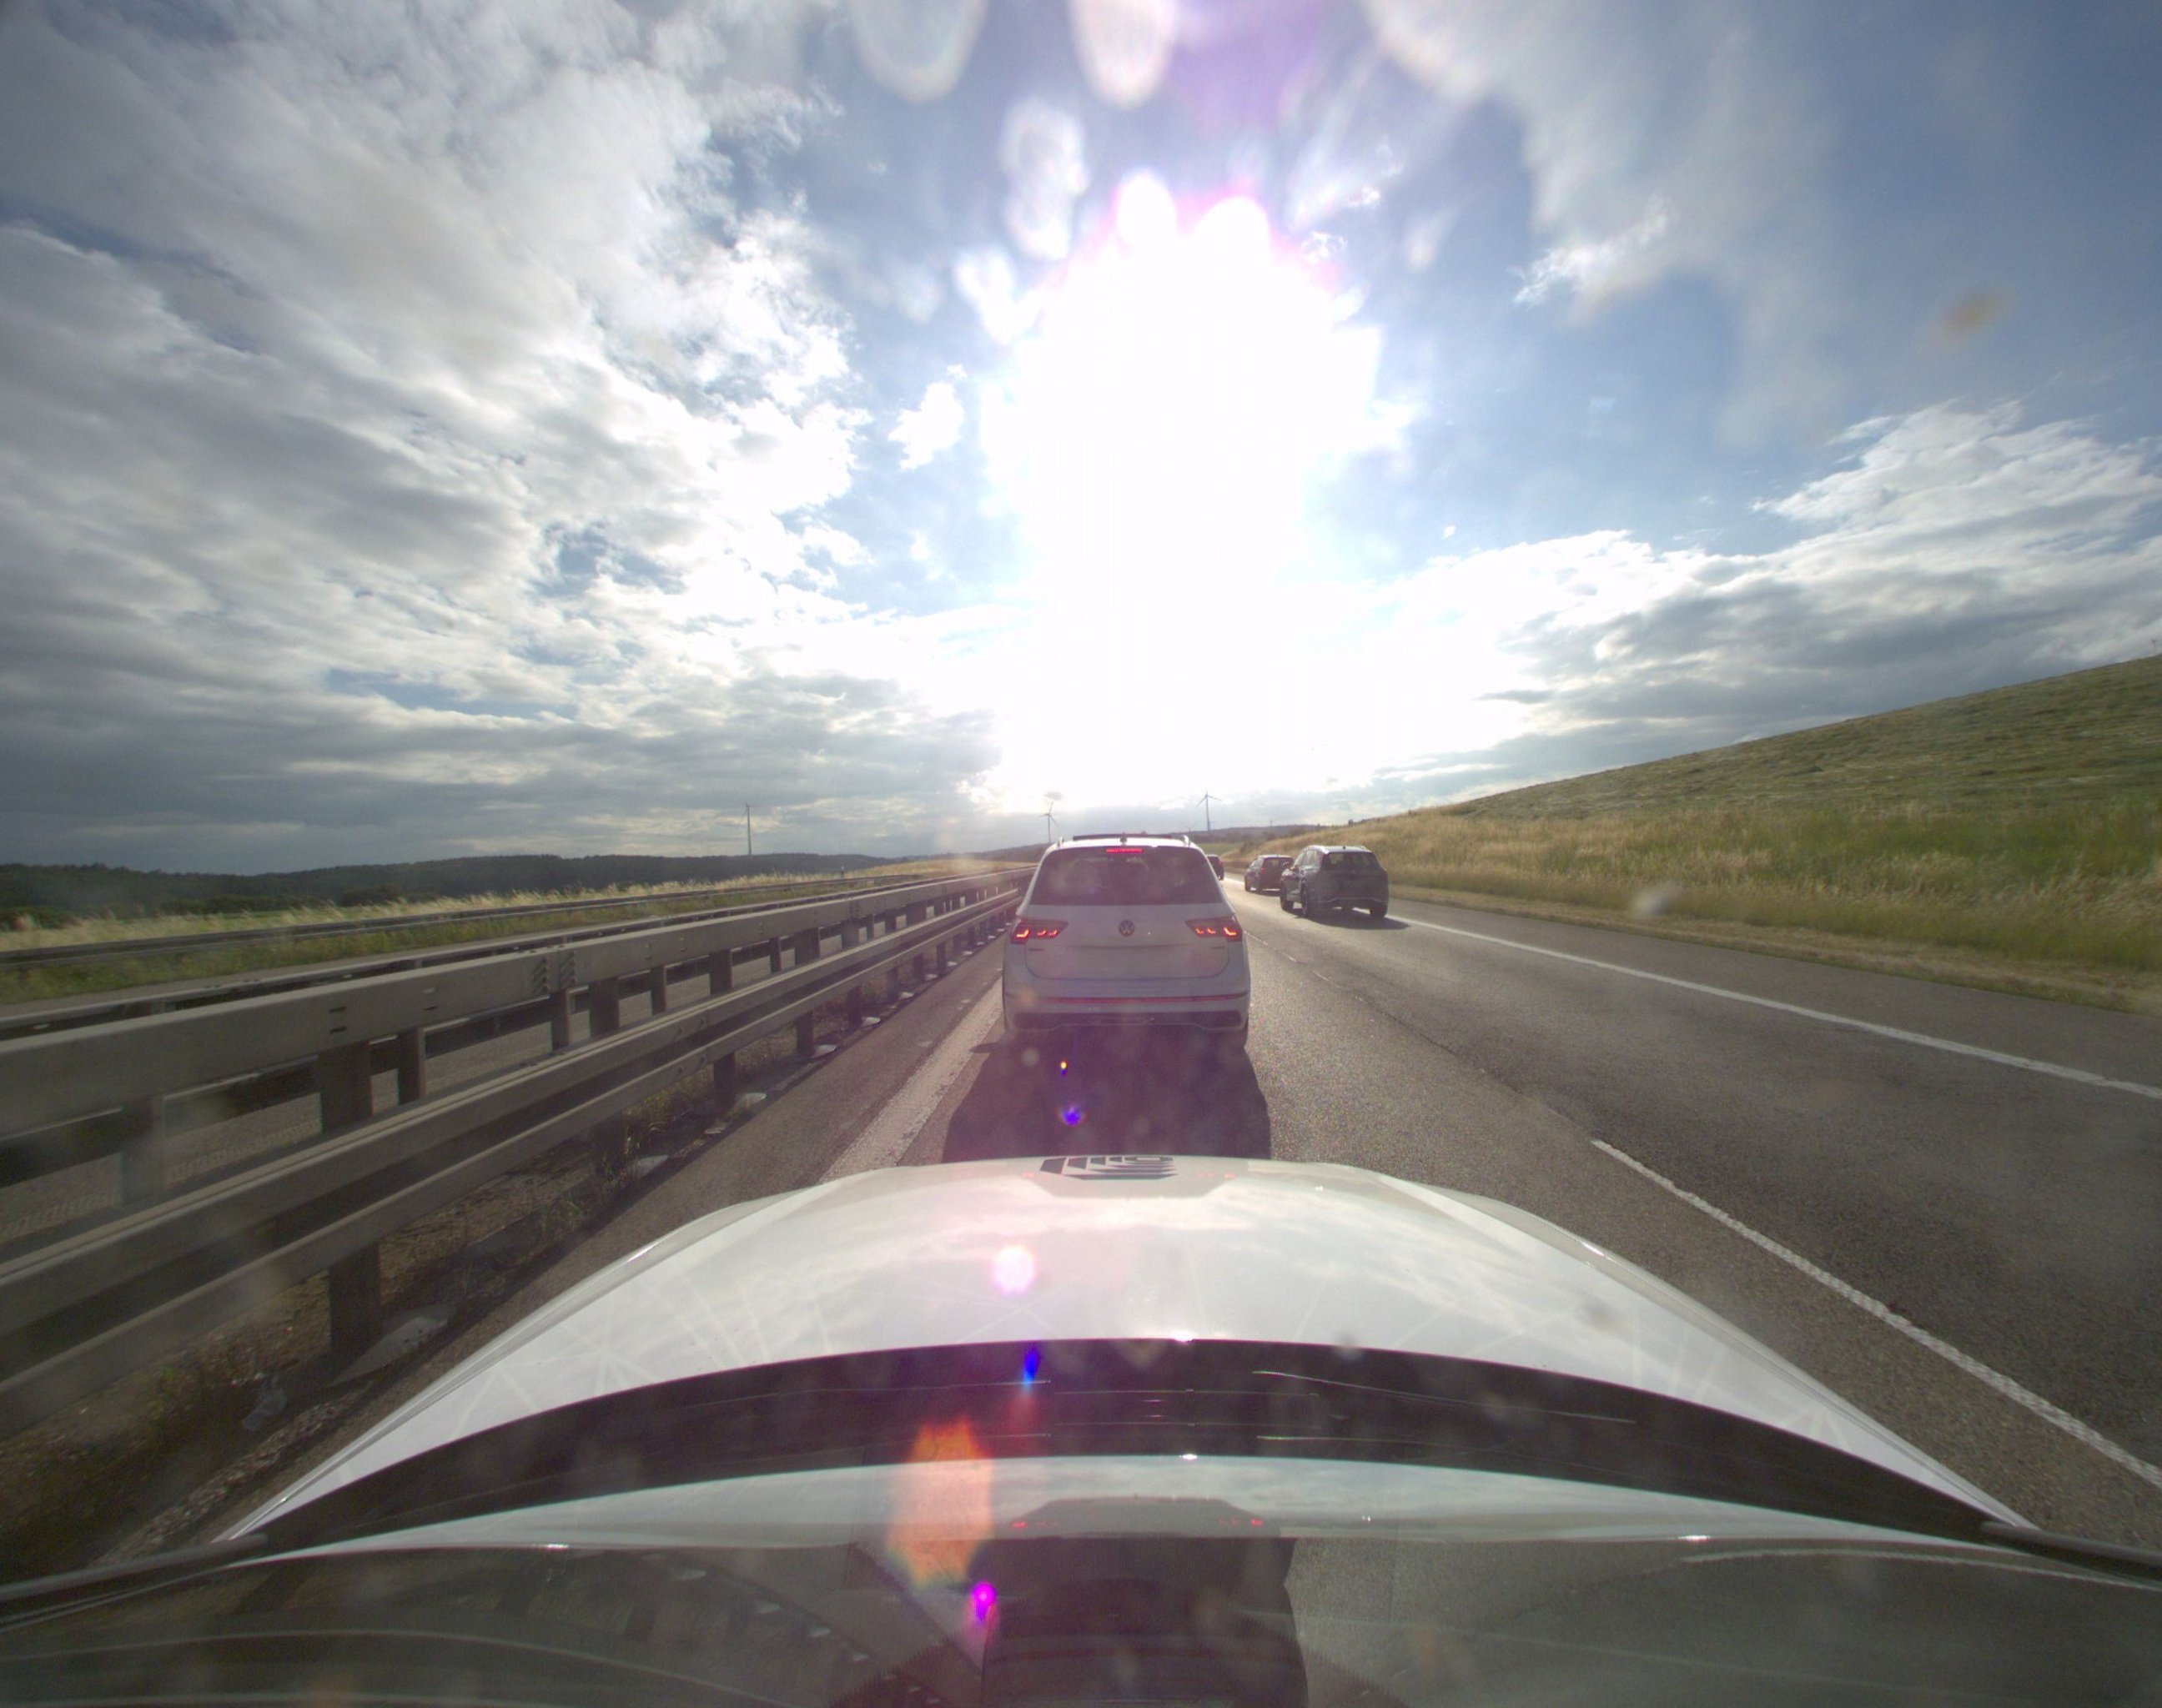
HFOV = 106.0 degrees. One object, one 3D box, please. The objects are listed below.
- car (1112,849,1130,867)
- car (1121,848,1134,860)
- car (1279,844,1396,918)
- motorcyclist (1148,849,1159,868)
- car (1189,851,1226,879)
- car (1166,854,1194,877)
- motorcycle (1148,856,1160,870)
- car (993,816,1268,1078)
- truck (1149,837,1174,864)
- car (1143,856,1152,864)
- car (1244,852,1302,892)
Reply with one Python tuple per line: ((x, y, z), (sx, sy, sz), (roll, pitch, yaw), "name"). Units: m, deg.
((3.902, 0.386, 80.588), (1.697, 1.650, 4.002), (-1, 0, 2), "car")
((6.322, -0.031, 110.553), (1.697, 1.546, 4.002), (-1, 0, 2), "car")
((6.090, 0.598, 19.860), (1.813, 1.601, 4.240), (0, 0, 4), "car")
((6.183, 0.411, 69.114), (0.846, 1.560, 0.934), (-1, -1, 1), "motorcyclist")
((7.613, 0.650, 49.359), (1.697, 1.546, 4.002), (-1, 0, 2), "car")
((7.513, 0.840, 62.115), (1.697, 1.650, 4.002), (-1, 0, 2), "car")
((6.190, 0.767, 69.155), (0.892, 1.190, 2.257), (-1, 0, 1), "motorcycle")
((0.388, 0.621, 7.328), (1.763, 1.675, 4.002), (-1, 0, 2), "car")
((11.566, -0.539, 117.487), (3.170, 3.593, 11.142), (-1, 0, 4), "truck")
((14.129, 1.234, 174.111), (1.697, 1.546, 4.002), (-1, 0, 2), "car")
((7.348, 0.649, 31.424), (1.598, 1.420, 3.677), (-1, 0, 5), "car")
